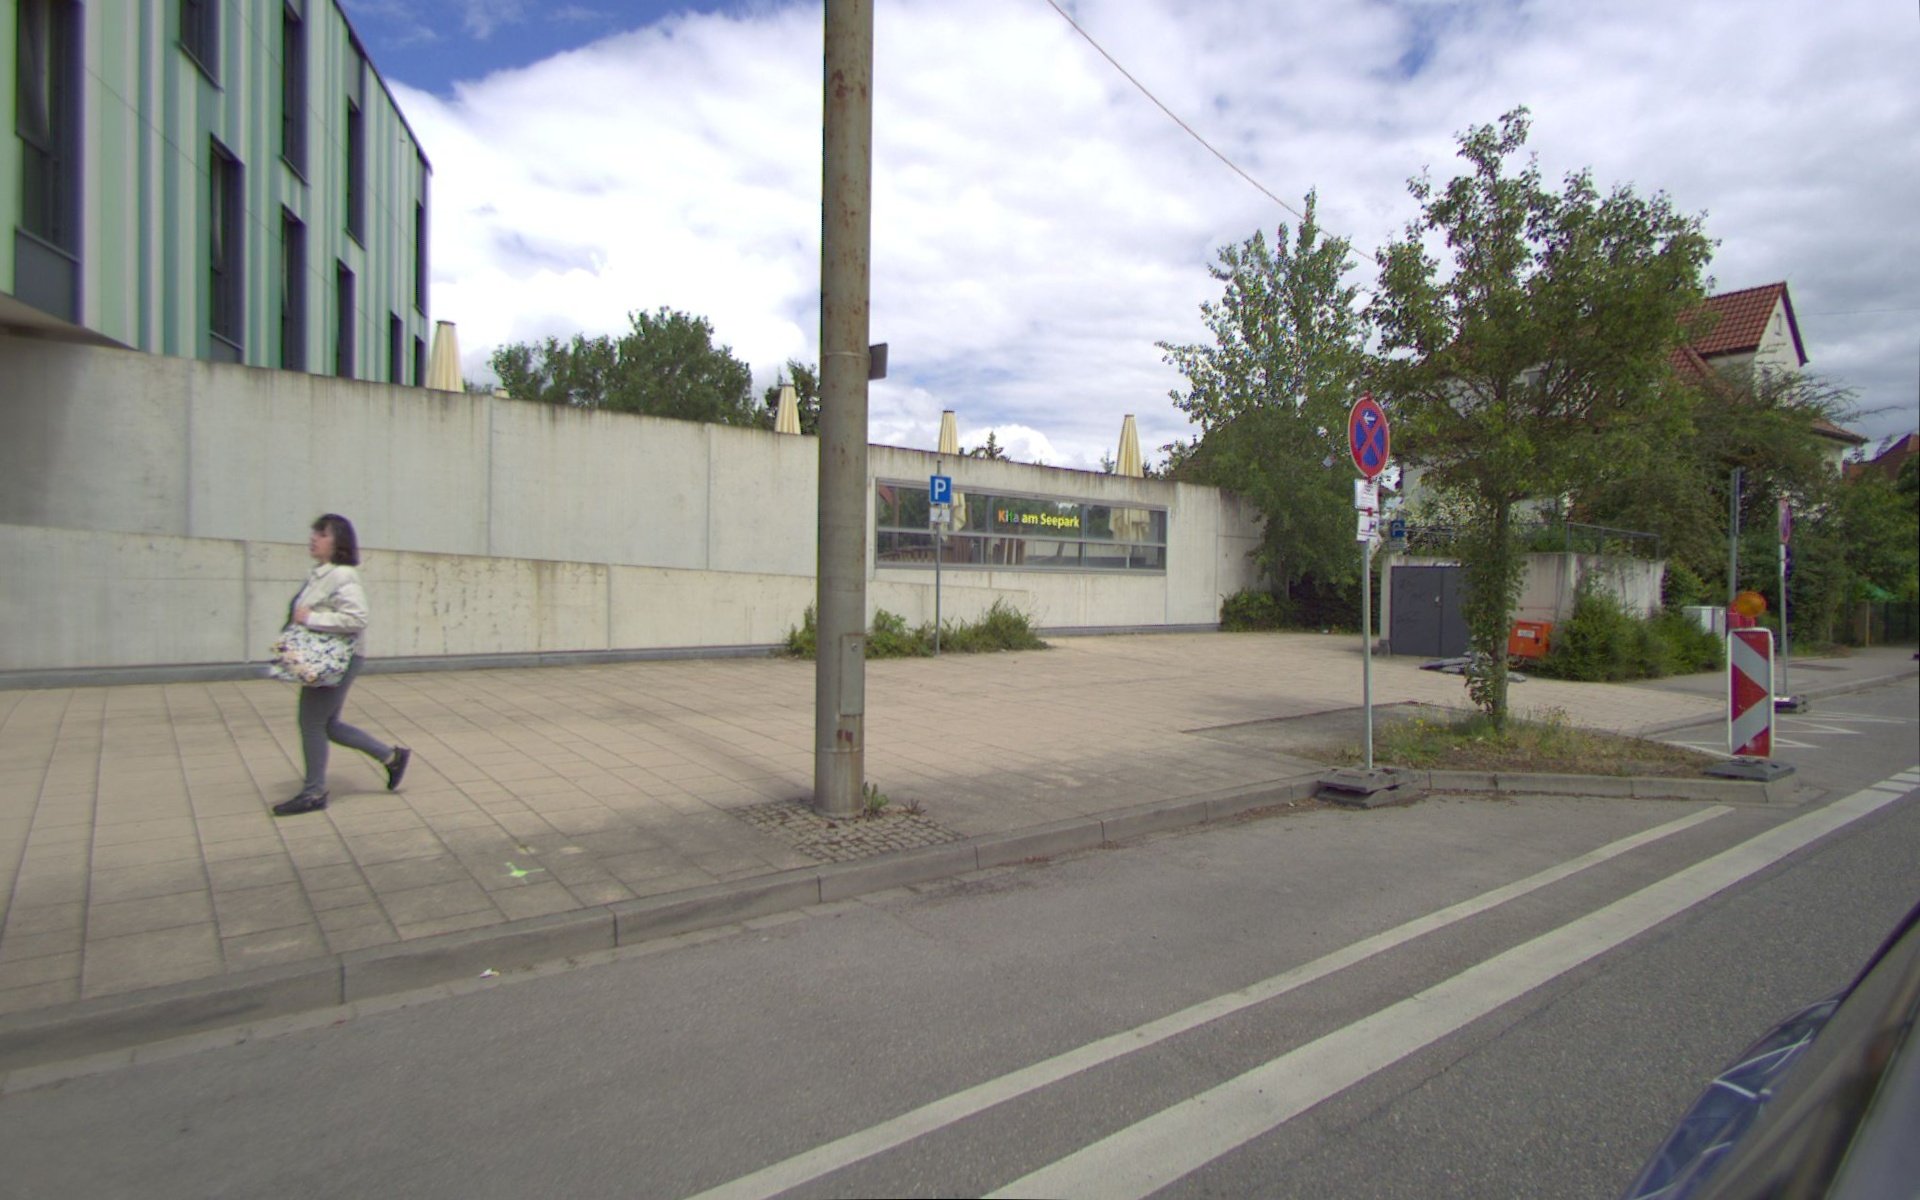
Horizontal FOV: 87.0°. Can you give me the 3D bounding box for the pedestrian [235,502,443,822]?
[{"bbox_3d":[-3.343,0.295,5.457,0.853,1.571,0.582,1,2,-41],"label":"pedestrian"}]
